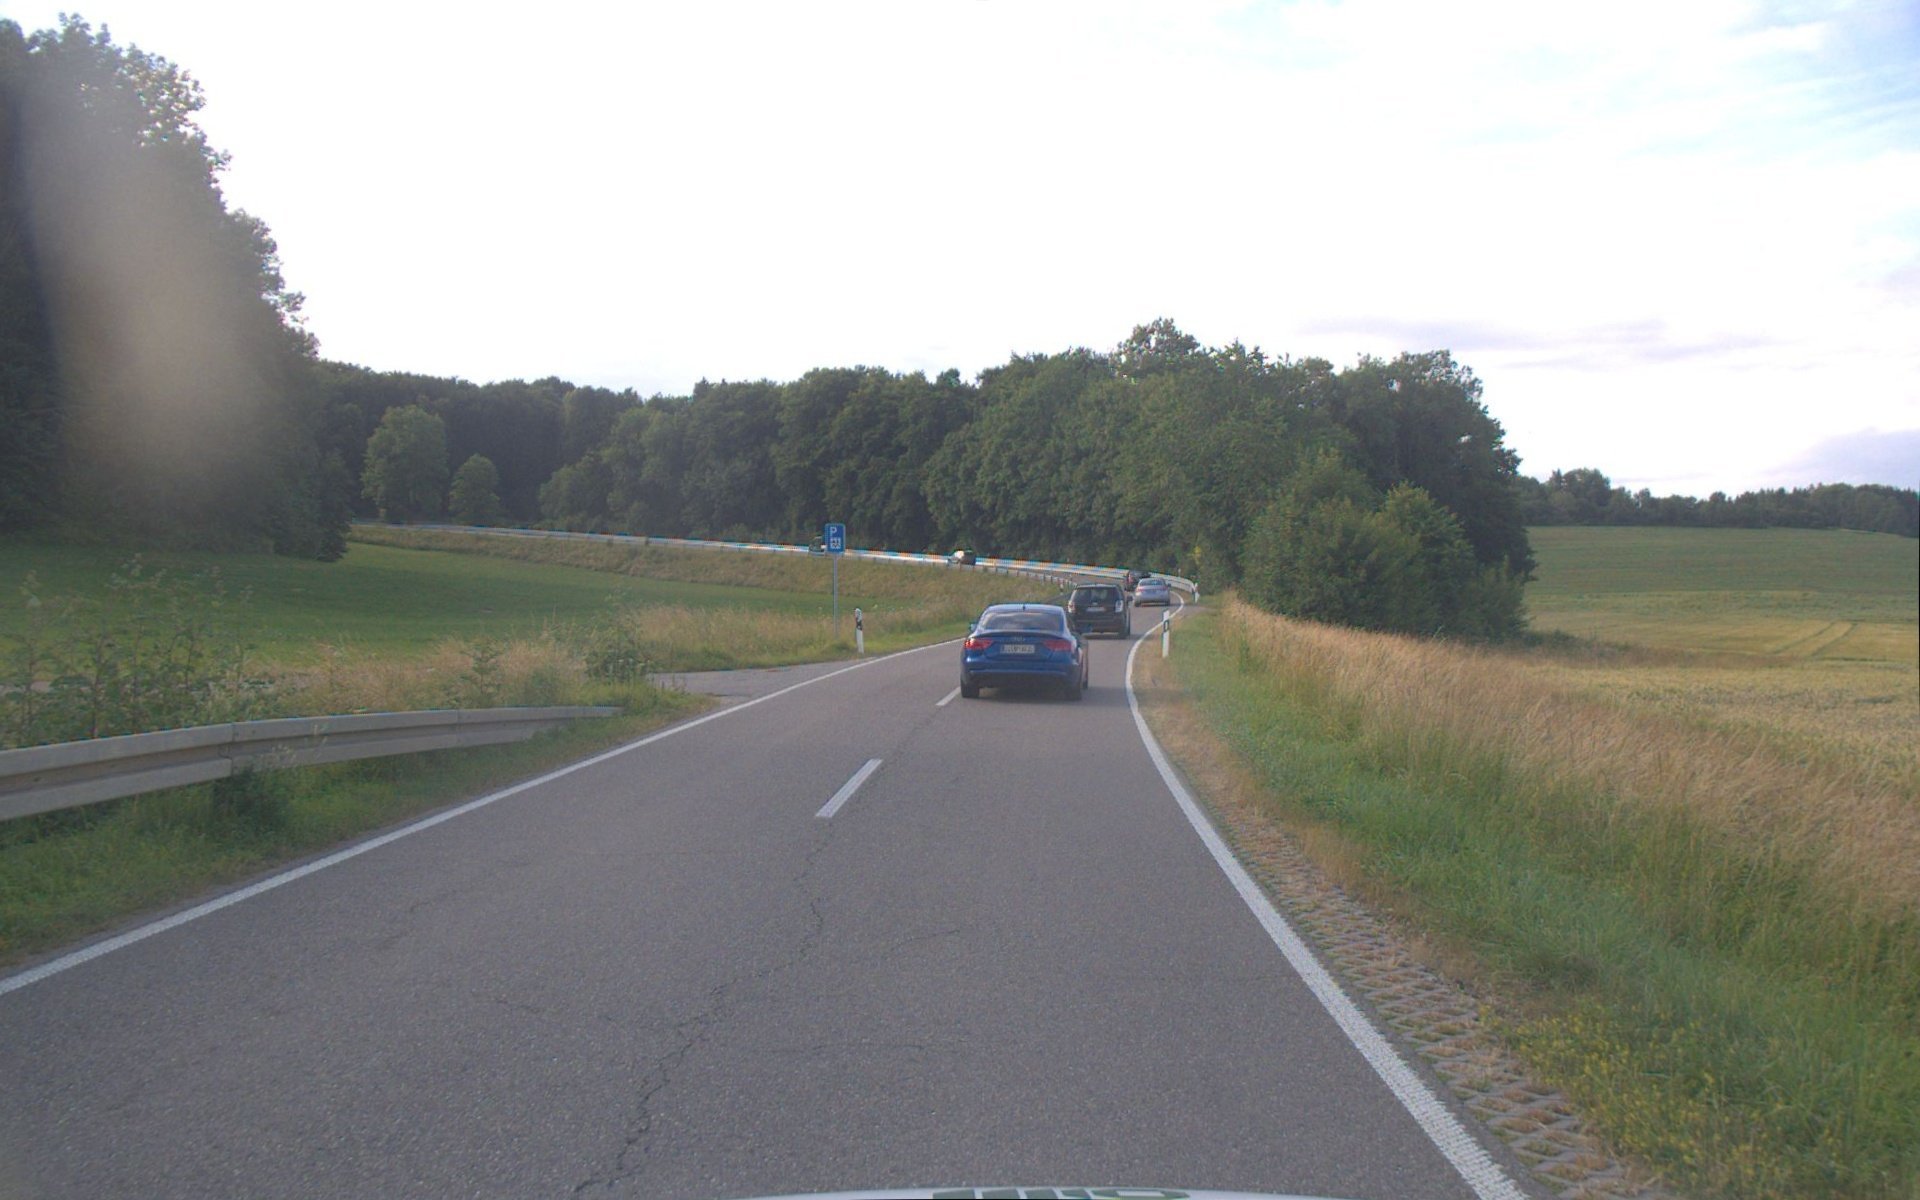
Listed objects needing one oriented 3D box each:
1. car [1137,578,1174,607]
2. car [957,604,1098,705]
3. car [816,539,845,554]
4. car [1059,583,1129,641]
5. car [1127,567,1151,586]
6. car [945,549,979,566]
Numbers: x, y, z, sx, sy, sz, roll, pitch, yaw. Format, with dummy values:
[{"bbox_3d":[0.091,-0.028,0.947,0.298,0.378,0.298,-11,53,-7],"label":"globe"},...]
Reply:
[{"bbox_3d":[10.095,-0.393,85.349,1.646,1.400,4.004,-1,1,10],"label":"car"},{"bbox_3d":[1.122,0.775,25.496,1.780,1.362,4.353,1,0,7],"label":"car"},{"bbox_3d":[-16.196,-6.710,206.725,1.977,1.802,3.952,0,2,-35],"label":"car"},{"bbox_3d":[4.076,0.315,49.749,1.822,1.596,4.004,0,1,9],"label":"car"},{"bbox_3d":[12.273,-1.610,113.472,1.440,1.248,3.301,-2,0,3],"label":"car"},{"bbox_3d":[0.190,-4.611,179.305,1.973,1.708,4.137,0,2,-30],"label":"car"}]
